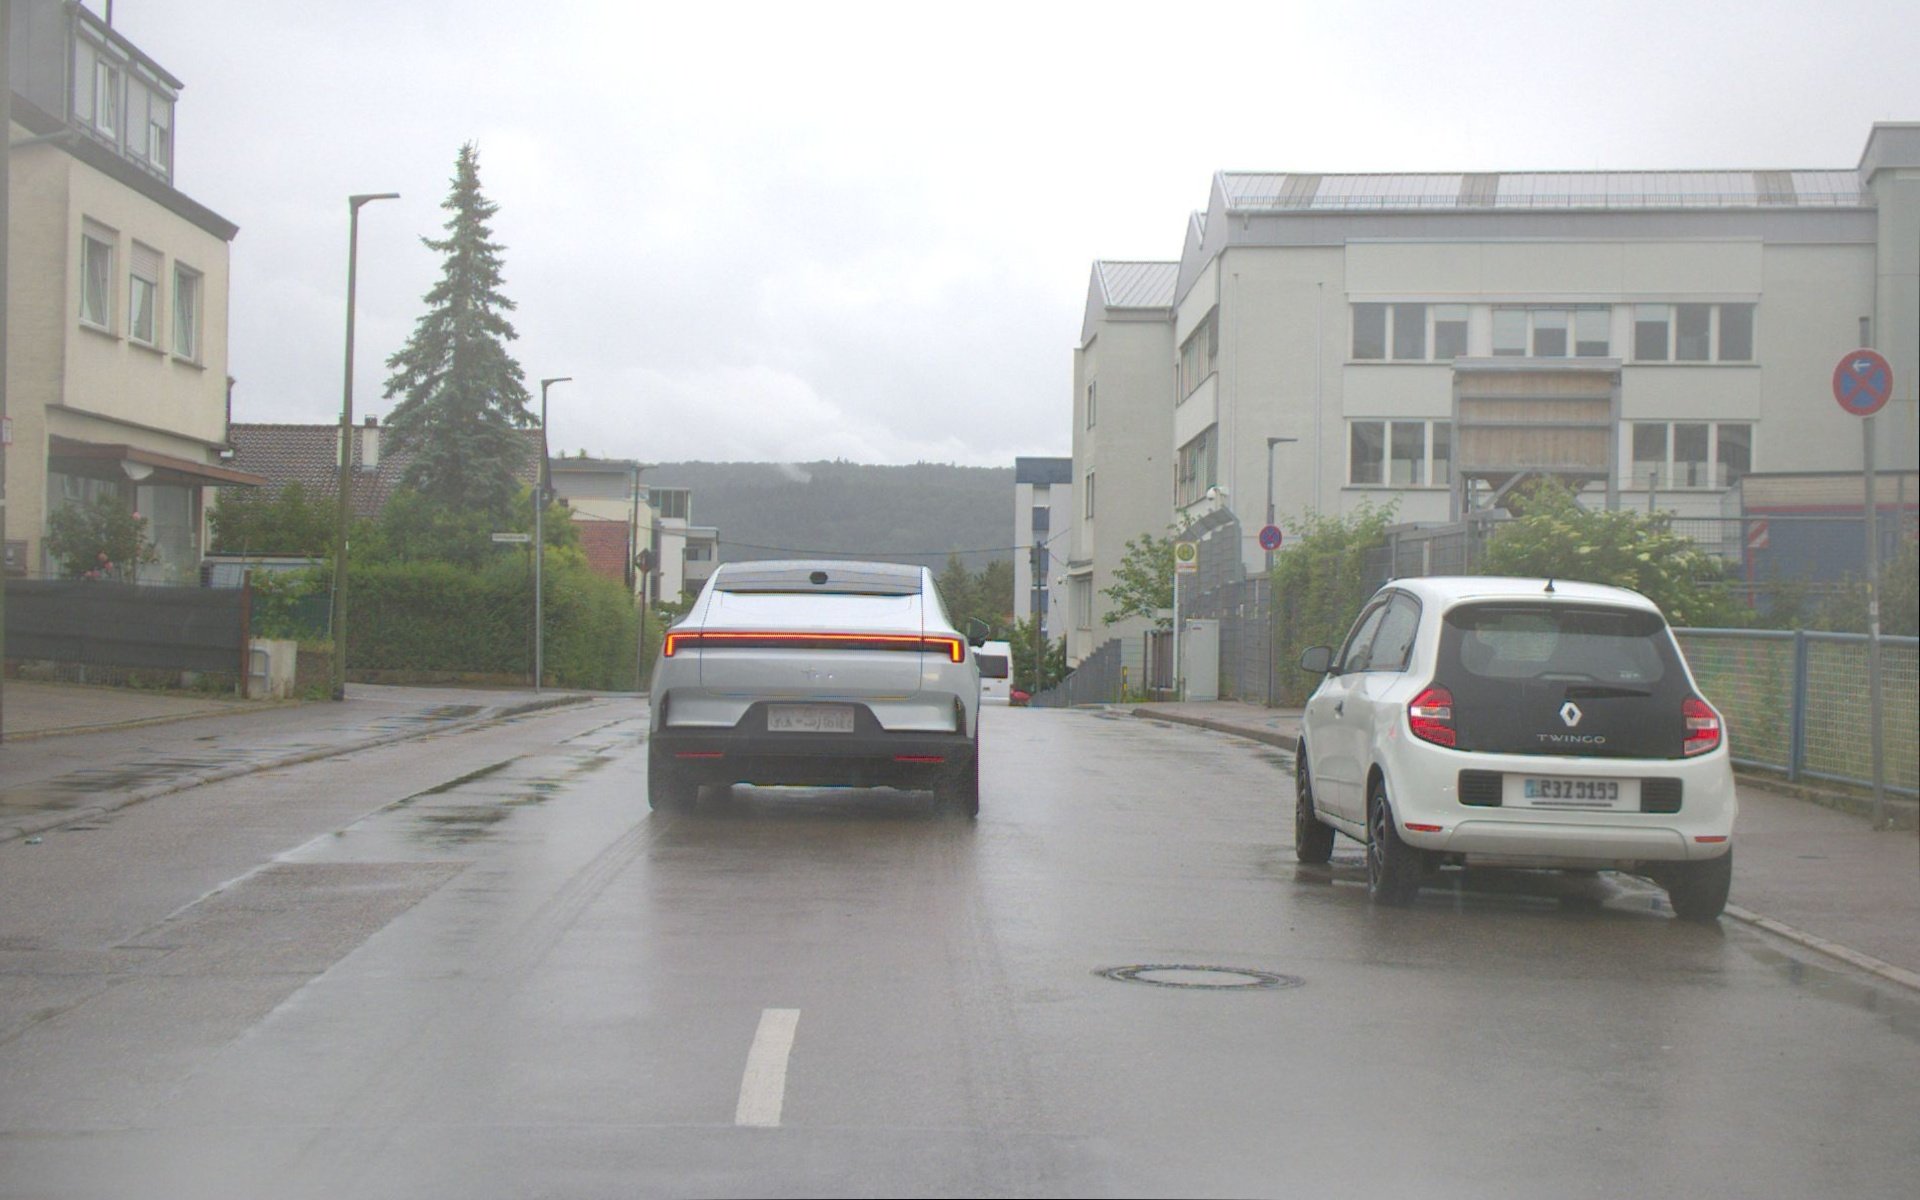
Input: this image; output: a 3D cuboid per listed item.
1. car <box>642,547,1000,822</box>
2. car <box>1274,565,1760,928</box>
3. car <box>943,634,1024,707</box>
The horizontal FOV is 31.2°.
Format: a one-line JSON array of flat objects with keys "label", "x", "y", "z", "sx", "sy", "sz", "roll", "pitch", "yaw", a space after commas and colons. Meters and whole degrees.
[{"label": "car", "x": -0.885, "y": 0.446, "z": 21.857, "sx": 1.993, "sy": 1.497, "sz": 4.670, "roll": 1, "pitch": 1, "yaw": -2}, {"label": "car", "x": 2.655, "y": 0.638, "z": 17.183, "sx": 1.681, "sy": 1.552, "sz": 3.675, "roll": 2, "pitch": 1, "yaw": -2}, {"label": "car", "x": 0.644, "y": 2.041, "z": 98.556, "sx": 1.993, "sy": 2.007, "sz": 4.000, "roll": 0, "pitch": -3, "yaw": -4}]
